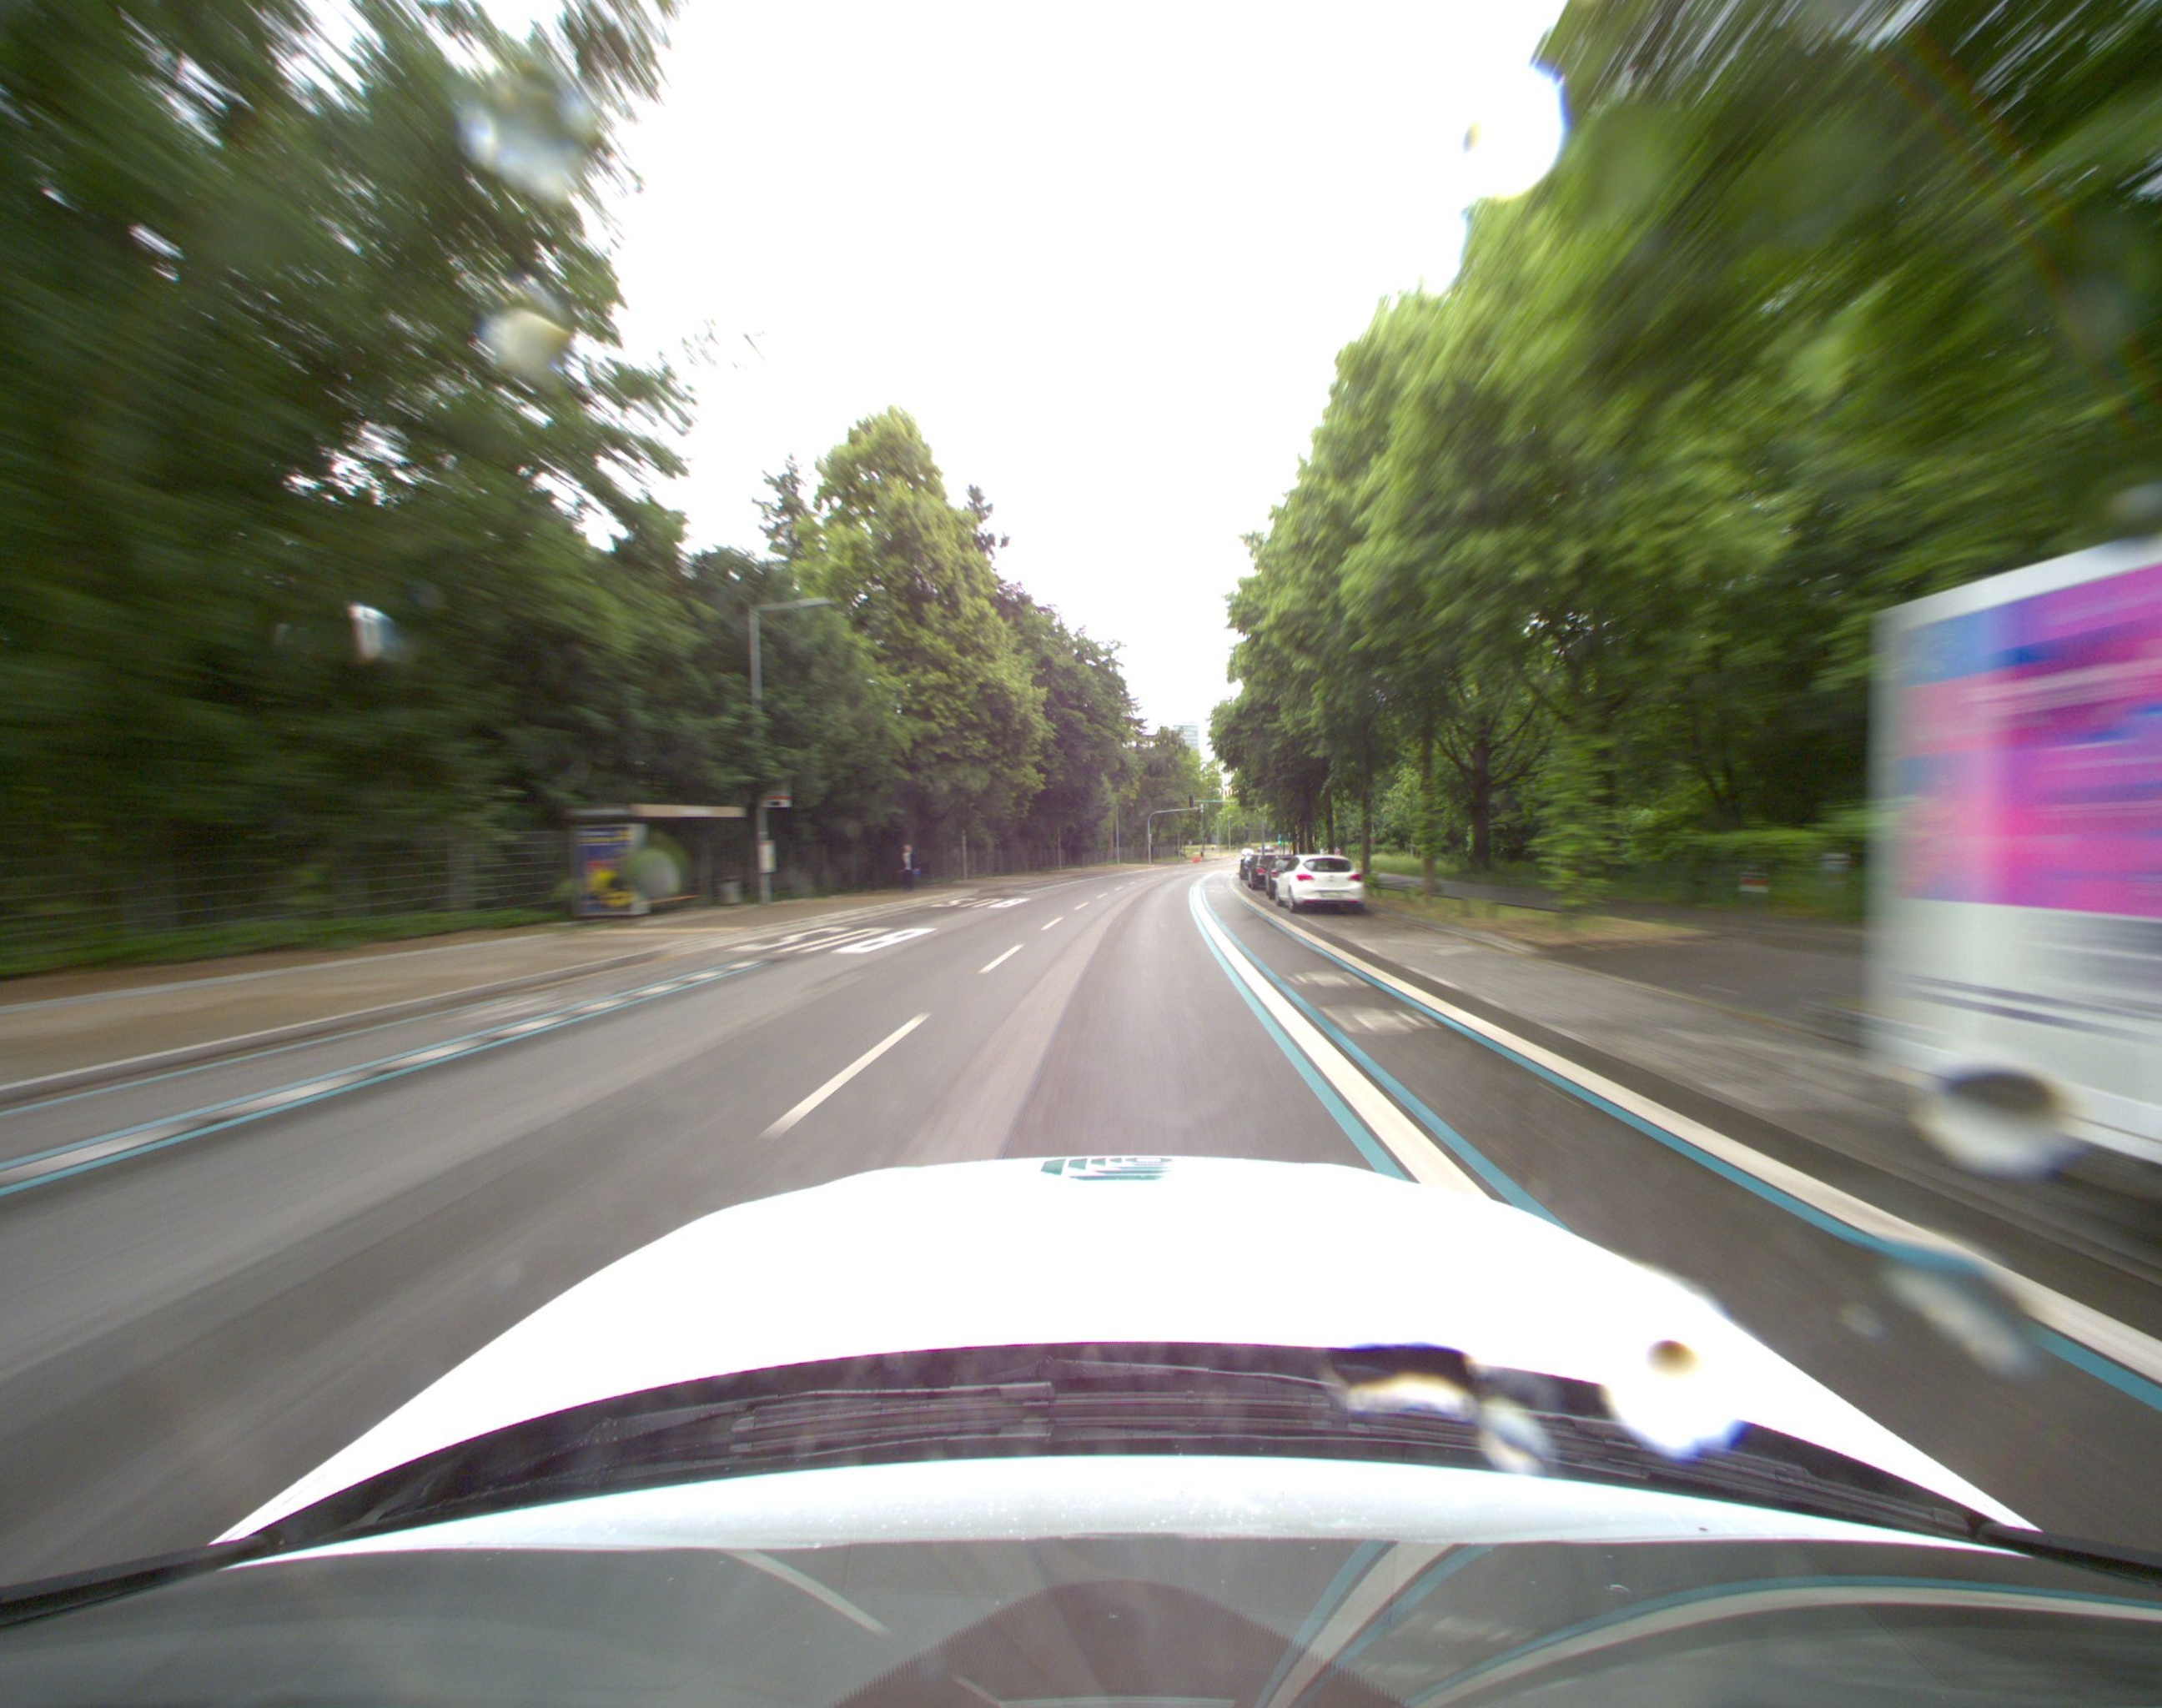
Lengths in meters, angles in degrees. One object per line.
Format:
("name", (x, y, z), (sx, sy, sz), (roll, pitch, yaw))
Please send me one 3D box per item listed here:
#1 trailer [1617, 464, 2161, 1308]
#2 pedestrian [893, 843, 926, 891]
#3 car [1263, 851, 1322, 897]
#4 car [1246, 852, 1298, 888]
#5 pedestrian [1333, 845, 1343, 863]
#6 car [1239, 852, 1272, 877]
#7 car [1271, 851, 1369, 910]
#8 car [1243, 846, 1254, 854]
("trailer", (4.575, 0.095, 2.635), (2.307, 2.672, 5.379), (-1, 0, 2))
("pedestrian", (-6.367, 0.479, 30.287), (0.883, 1.733, 1.147), (-1, 0, 3))
("car", (7.185, 0.640, 28.010), (1.673, 1.428, 4.330), (0, 0, 10))
("car", (8.117, 0.633, 34.931), (1.771, 1.407, 4.856), (0, 0, 8))
("pedestrian", (24.860, 0.020, 78.774), (0.880, 1.733, 1.151), (-1, 0, 16))
("car", (10.375, 0.605, 48.691), (1.689, 1.420, 4.776), (1, 0, 9))
("car", (6.306, 0.642, 22.012), (1.849, 1.428, 4.659), (0, 0, 7))
("car", (34.123, -0.820, 166.061), (1.829, 1.457, 4.520), (-1, 1, 17))
